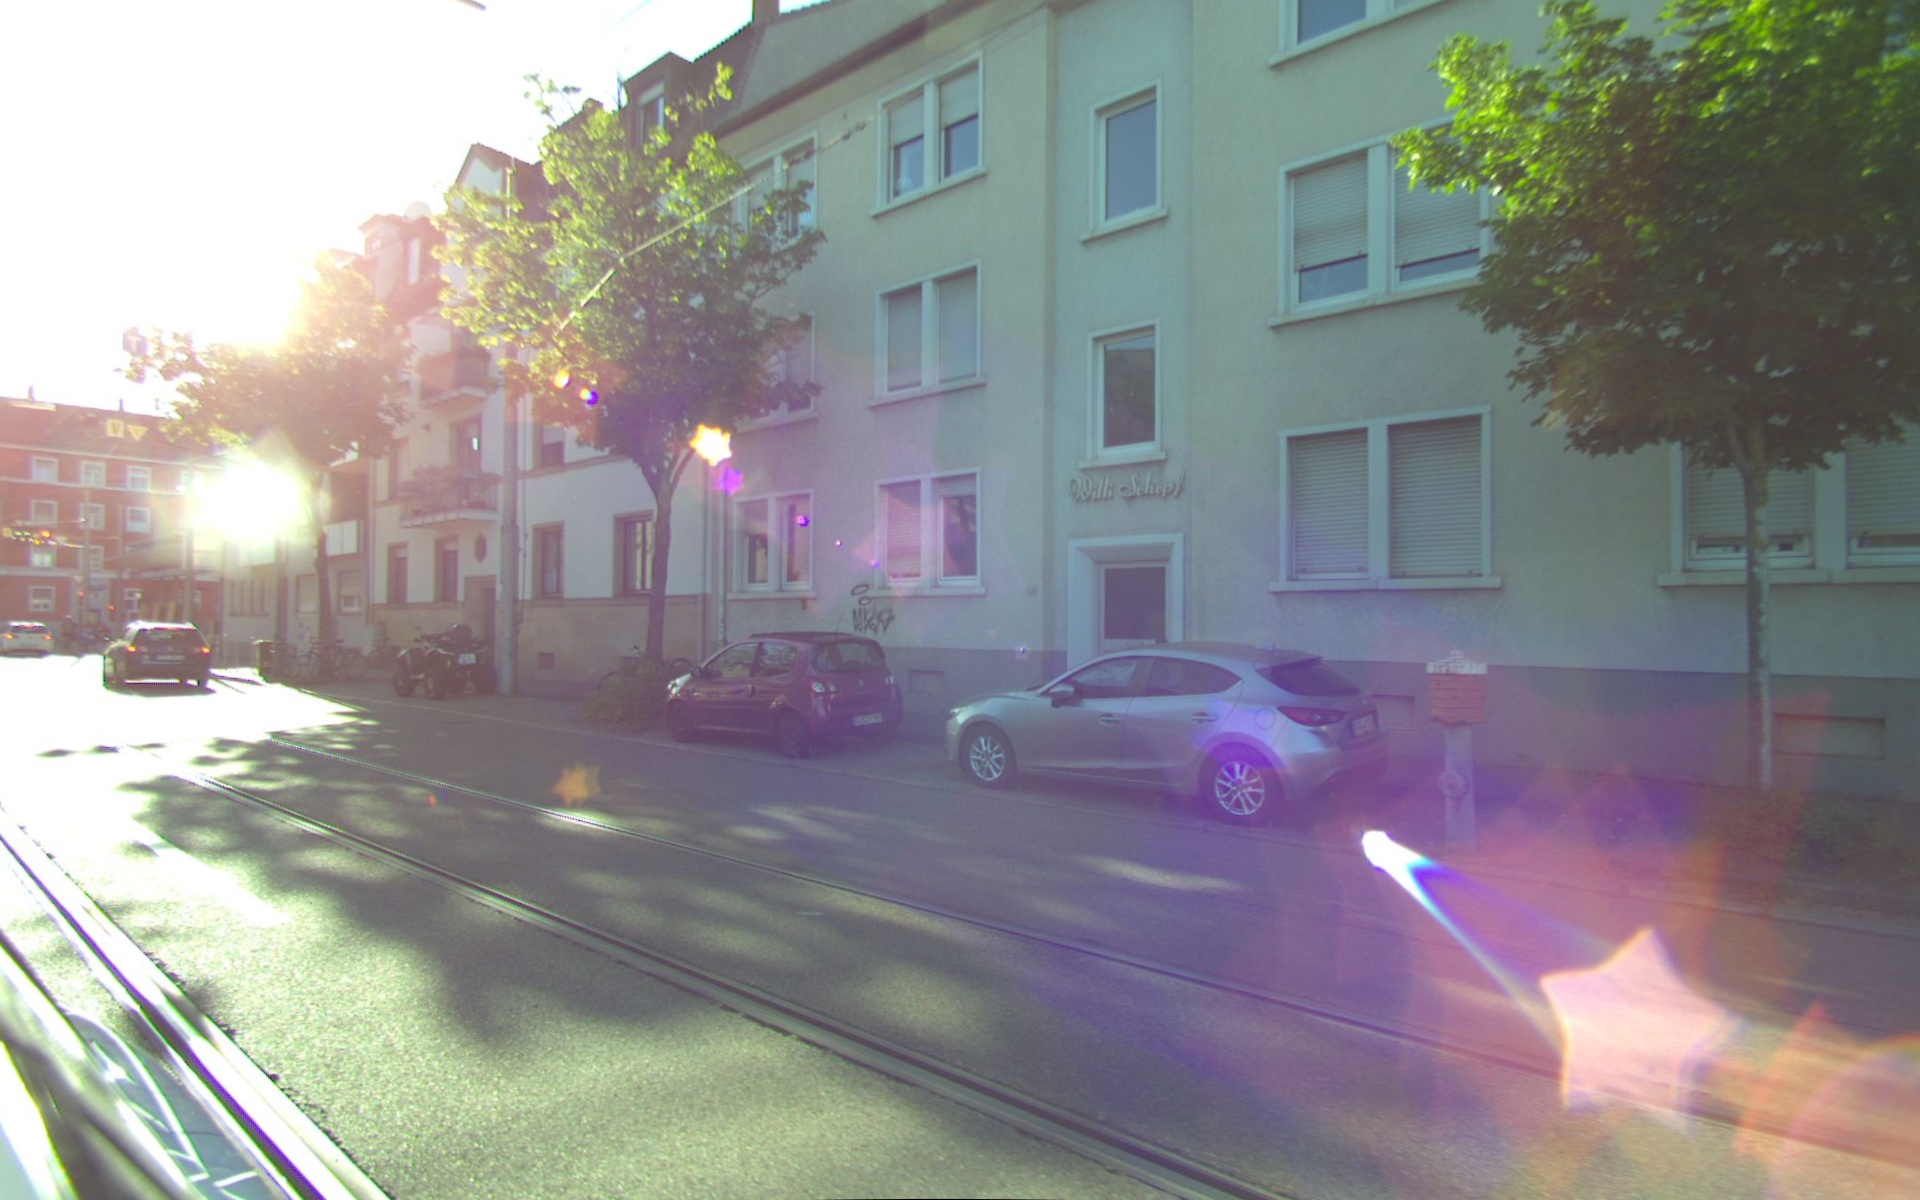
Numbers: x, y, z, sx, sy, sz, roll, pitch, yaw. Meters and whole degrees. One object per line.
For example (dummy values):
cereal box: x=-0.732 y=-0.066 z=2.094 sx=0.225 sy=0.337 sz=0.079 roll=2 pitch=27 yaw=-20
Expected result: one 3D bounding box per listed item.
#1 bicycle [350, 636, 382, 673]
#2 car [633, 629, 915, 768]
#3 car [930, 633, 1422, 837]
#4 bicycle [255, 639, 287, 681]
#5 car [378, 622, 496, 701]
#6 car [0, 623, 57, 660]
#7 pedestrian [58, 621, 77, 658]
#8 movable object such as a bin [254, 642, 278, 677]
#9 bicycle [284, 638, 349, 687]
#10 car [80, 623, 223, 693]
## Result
bicycle: x=-17.543 y=1.599 z=29.888 sx=1.661 sy=1.050 sz=0.299 roll=-1 pitch=-1 yaw=41
car: x=-2.572 y=1.170 z=13.416 sx=3.998 sy=1.516 sz=1.555 roll=-1 pitch=-1 yaw=41
car: x=1.900 y=1.083 z=9.725 sx=4.291 sy=1.440 sz=1.854 roll=-1 pitch=-1 yaw=41
bicycle: x=-18.276 y=1.569 z=26.827 sx=1.661 sy=1.050 sz=0.299 roll=-1 pitch=-1 yaw=41
car: x=-10.897 y=1.277 z=21.028 sx=2.546 sy=1.514 sz=1.341 roll=-4 pitch=-3 yaw=41
car: x=-41.877 y=1.804 z=45.147 sx=3.998 sy=1.537 sz=1.898 roll=-1 pitch=-1 yaw=41
pedestrian: x=-43.187 y=1.902 z=48.975 sx=0.583 sy=1.787 sz=0.631 roll=-1 pitch=-1 yaw=41
movable object such as a bin: x=-19.013 y=1.625 z=27.724 sx=0.582 sy=0.942 sz=0.420 roll=-1 pitch=-1 yaw=41
bicycle: x=-16.336 y=1.566 z=25.694 sx=0.409 sy=1.178 sz=1.326 roll=-1 pitch=-1 yaw=41
car: x=-19.385 y=1.331 z=24.185 sx=4.743 sy=1.474 sz=1.748 roll=-1 pitch=-3 yaw=40
